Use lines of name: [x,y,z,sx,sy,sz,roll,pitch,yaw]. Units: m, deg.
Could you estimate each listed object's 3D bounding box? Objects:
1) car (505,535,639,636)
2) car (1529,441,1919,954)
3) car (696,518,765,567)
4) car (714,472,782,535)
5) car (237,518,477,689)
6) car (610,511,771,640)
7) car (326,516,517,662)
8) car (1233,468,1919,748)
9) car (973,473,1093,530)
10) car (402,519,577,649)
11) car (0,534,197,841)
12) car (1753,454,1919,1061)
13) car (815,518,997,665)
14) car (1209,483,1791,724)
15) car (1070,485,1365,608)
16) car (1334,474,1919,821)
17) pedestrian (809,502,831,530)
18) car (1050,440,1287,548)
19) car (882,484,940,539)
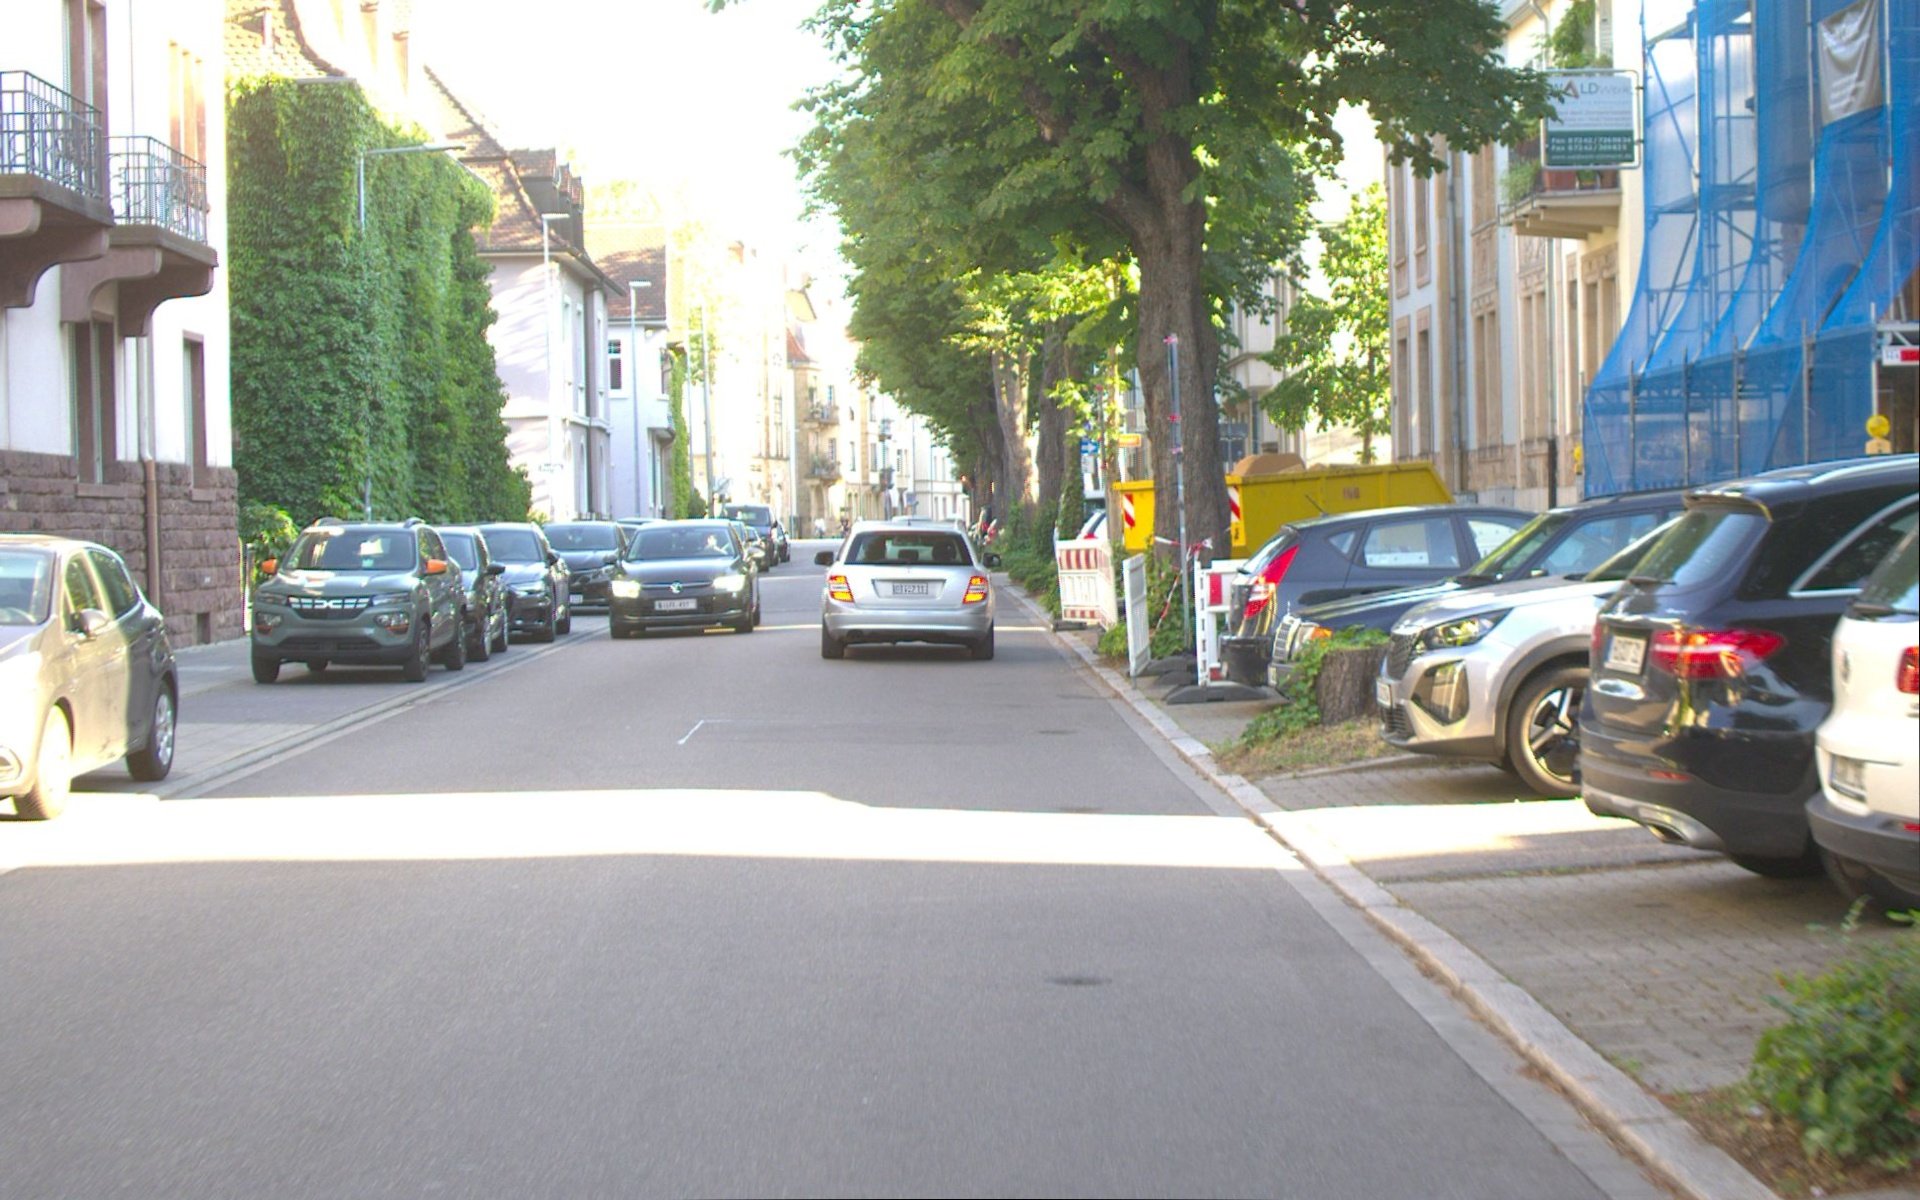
car: [-5.995,-0.259,53.479,1.649,1.416,4.099,-1,2,-1]
car: [4.448,0.217,12.652,4.331,1.677,1.706,-3,3,-1]
car: [-6.518,-1.650,97.962,1.531,1.314,4.227,-1,2,2]
car: [-6.735,-3.113,109.643,1.982,1.941,4.852,-1,2,-1]
car: [-5.723,-0.015,32.982,1.653,1.480,3.765,-1,2,-1]
car: [-3.412,-0.356,44.131,1.772,1.443,4.001,-2,2,-1]
car: [-5.818,-0.158,37.505,1.653,1.442,3.845,-1,2,-3]
car: [4.312,0.017,23.106,4.718,1.530,1.851,-4,2,0]
car: [2.692,-3.655,127.451,4.219,1.889,1.906,-3,2,-2]
car: [-5.855,-0.248,43.235,1.792,1.456,4.779,-1,2,-3]
car: [-5.470,0.403,18.952,1.653,1.442,4.005,-1,2,-1]
car: [4.598,0.319,10.437,3.949,1.677,1.706,-3,3,3]
car: [-0.538,-0.128,35.945,1.784,1.432,3.851,-1,1,0]
car: [3.948,-0.002,25.632,3.987,1.487,1.851,-3,2,1]
car: [3.736,-0.795,50.315,4.144,1.529,1.687,-3,2,2]
car: [4.188,0.174,17.996,4.155,1.534,1.851,-4,2,-1]
pedestrian: [-8.585,-5.142,210.917,1.221,1.715,1.503,-1,2,3]
car: [3.986,-2.056,66.240,4.314,1.801,2.000,-3,2,-1]
car: [-1.445,-2.653,102.431,1.623,1.564,3.680,-2,2,0]
